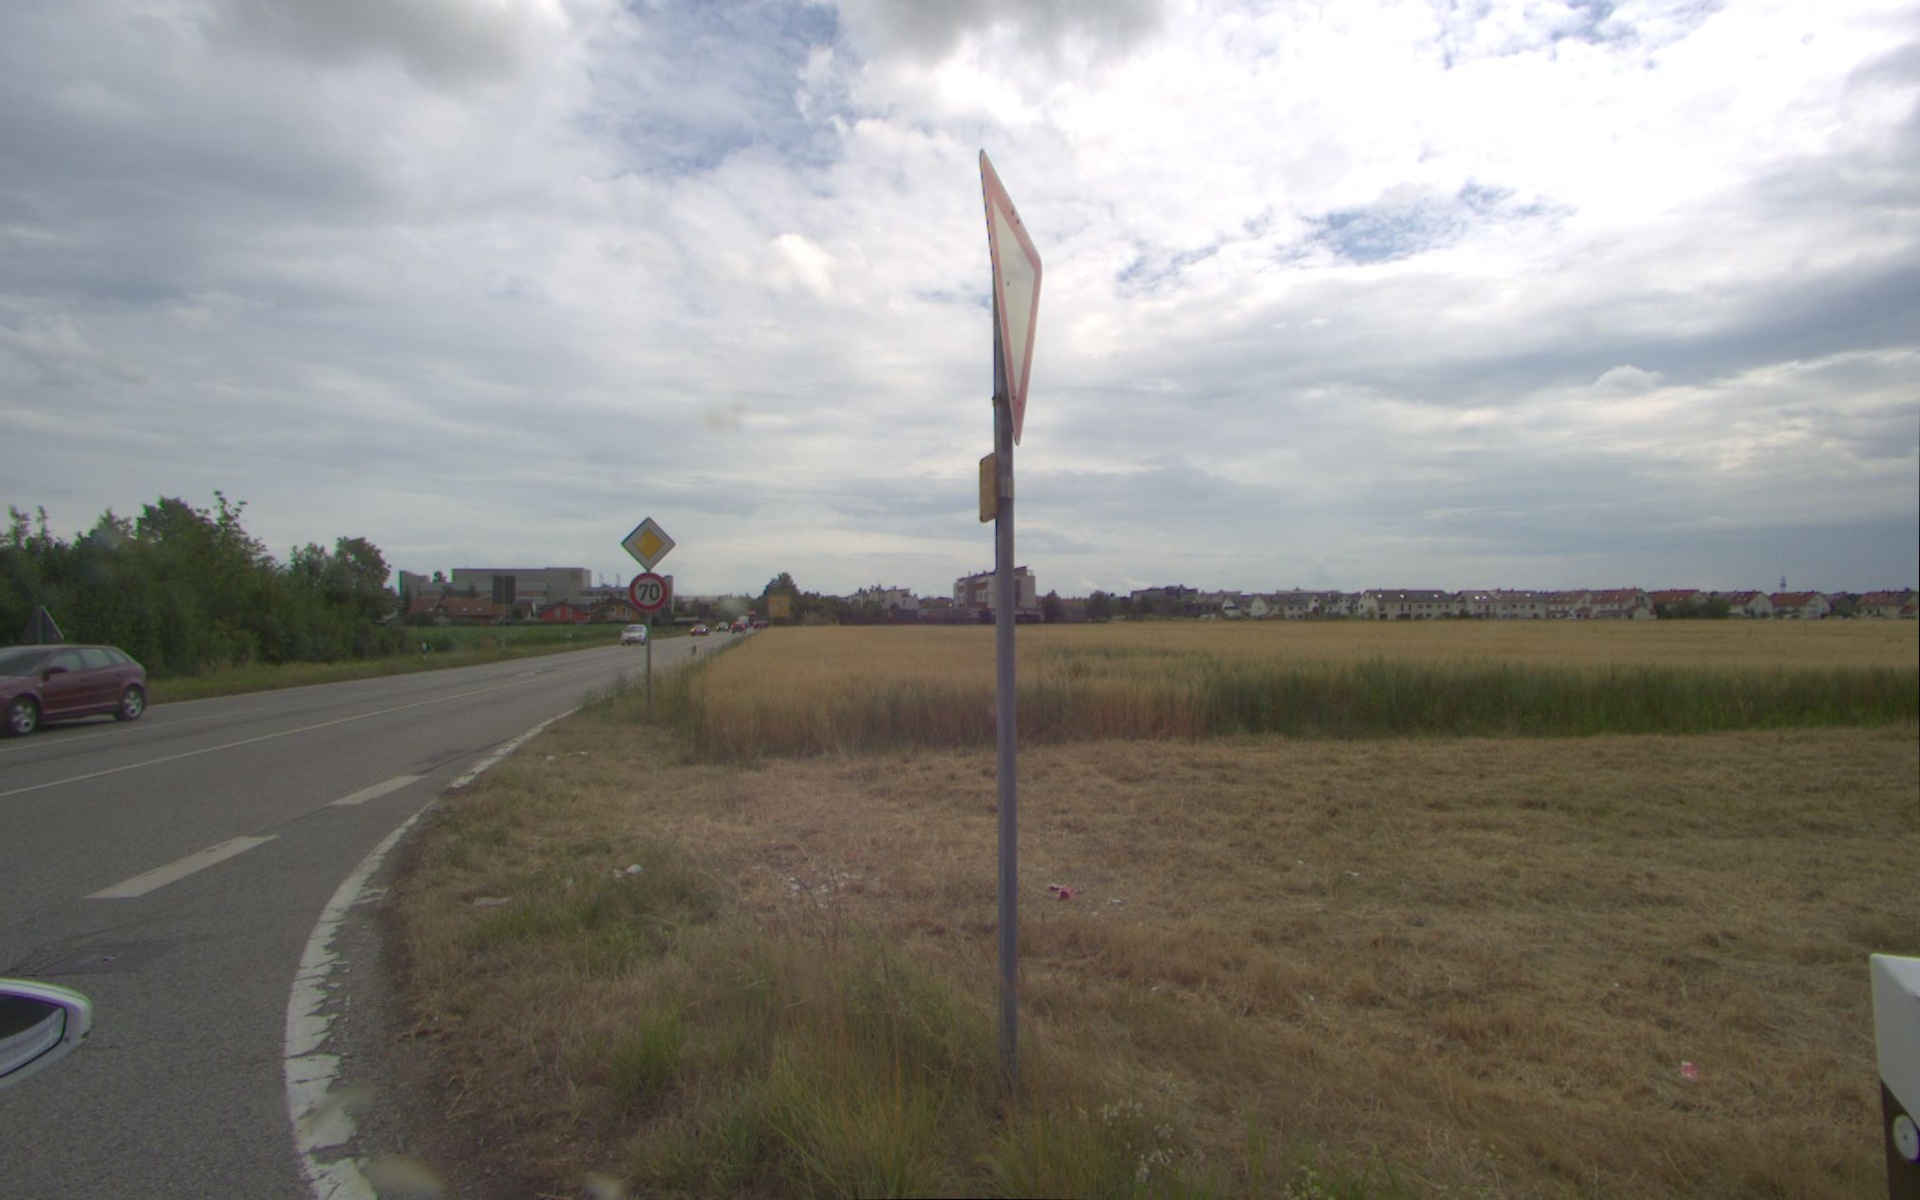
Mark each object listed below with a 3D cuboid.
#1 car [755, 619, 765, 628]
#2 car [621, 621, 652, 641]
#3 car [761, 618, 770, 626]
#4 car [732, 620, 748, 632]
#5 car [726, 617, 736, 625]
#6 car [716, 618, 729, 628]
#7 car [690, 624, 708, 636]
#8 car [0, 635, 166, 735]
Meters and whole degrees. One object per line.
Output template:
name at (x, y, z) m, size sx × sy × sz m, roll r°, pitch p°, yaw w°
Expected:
car at (-39.822, 4.581, 199.358) m, size 1.828 × 1.750 × 3.999 m, roll 0°, pitch -1°, yaw -7°
car at (-24.369, 2.315, 75.595) m, size 1.703 × 1.450 × 3.932 m, roll -2°, pitch -1°, yaw -10°
car at (-42.419, 4.829, 218.363) m, size 1.828 × 1.750 × 3.999 m, roll 0°, pitch -1°, yaw -7°
car at (-29.688, 3.545, 135.197) m, size 1.828 × 1.586 × 3.999 m, roll 0°, pitch -1°, yaw -7°
car at (-51.361, 4.740, 224.616) m, size 1.962 × 1.721 × 4.673 m, roll 0°, pitch -1°, yaw -10°
car at (-36.762, 3.554, 154.976) m, size 1.643 × 1.448 × 4.300 m, roll -2°, pitch -1°, yaw -10°
car at (-30.746, 3.538, 118.145) m, size 1.744 × 1.257 × 4.208 m, roll -1°, pitch -1°, yaw -11°
car at (-15.507, 1.359, 16.756) m, size 1.646 × 1.420 × 4.087 m, roll -1°, pitch 0°, yaw -9°
